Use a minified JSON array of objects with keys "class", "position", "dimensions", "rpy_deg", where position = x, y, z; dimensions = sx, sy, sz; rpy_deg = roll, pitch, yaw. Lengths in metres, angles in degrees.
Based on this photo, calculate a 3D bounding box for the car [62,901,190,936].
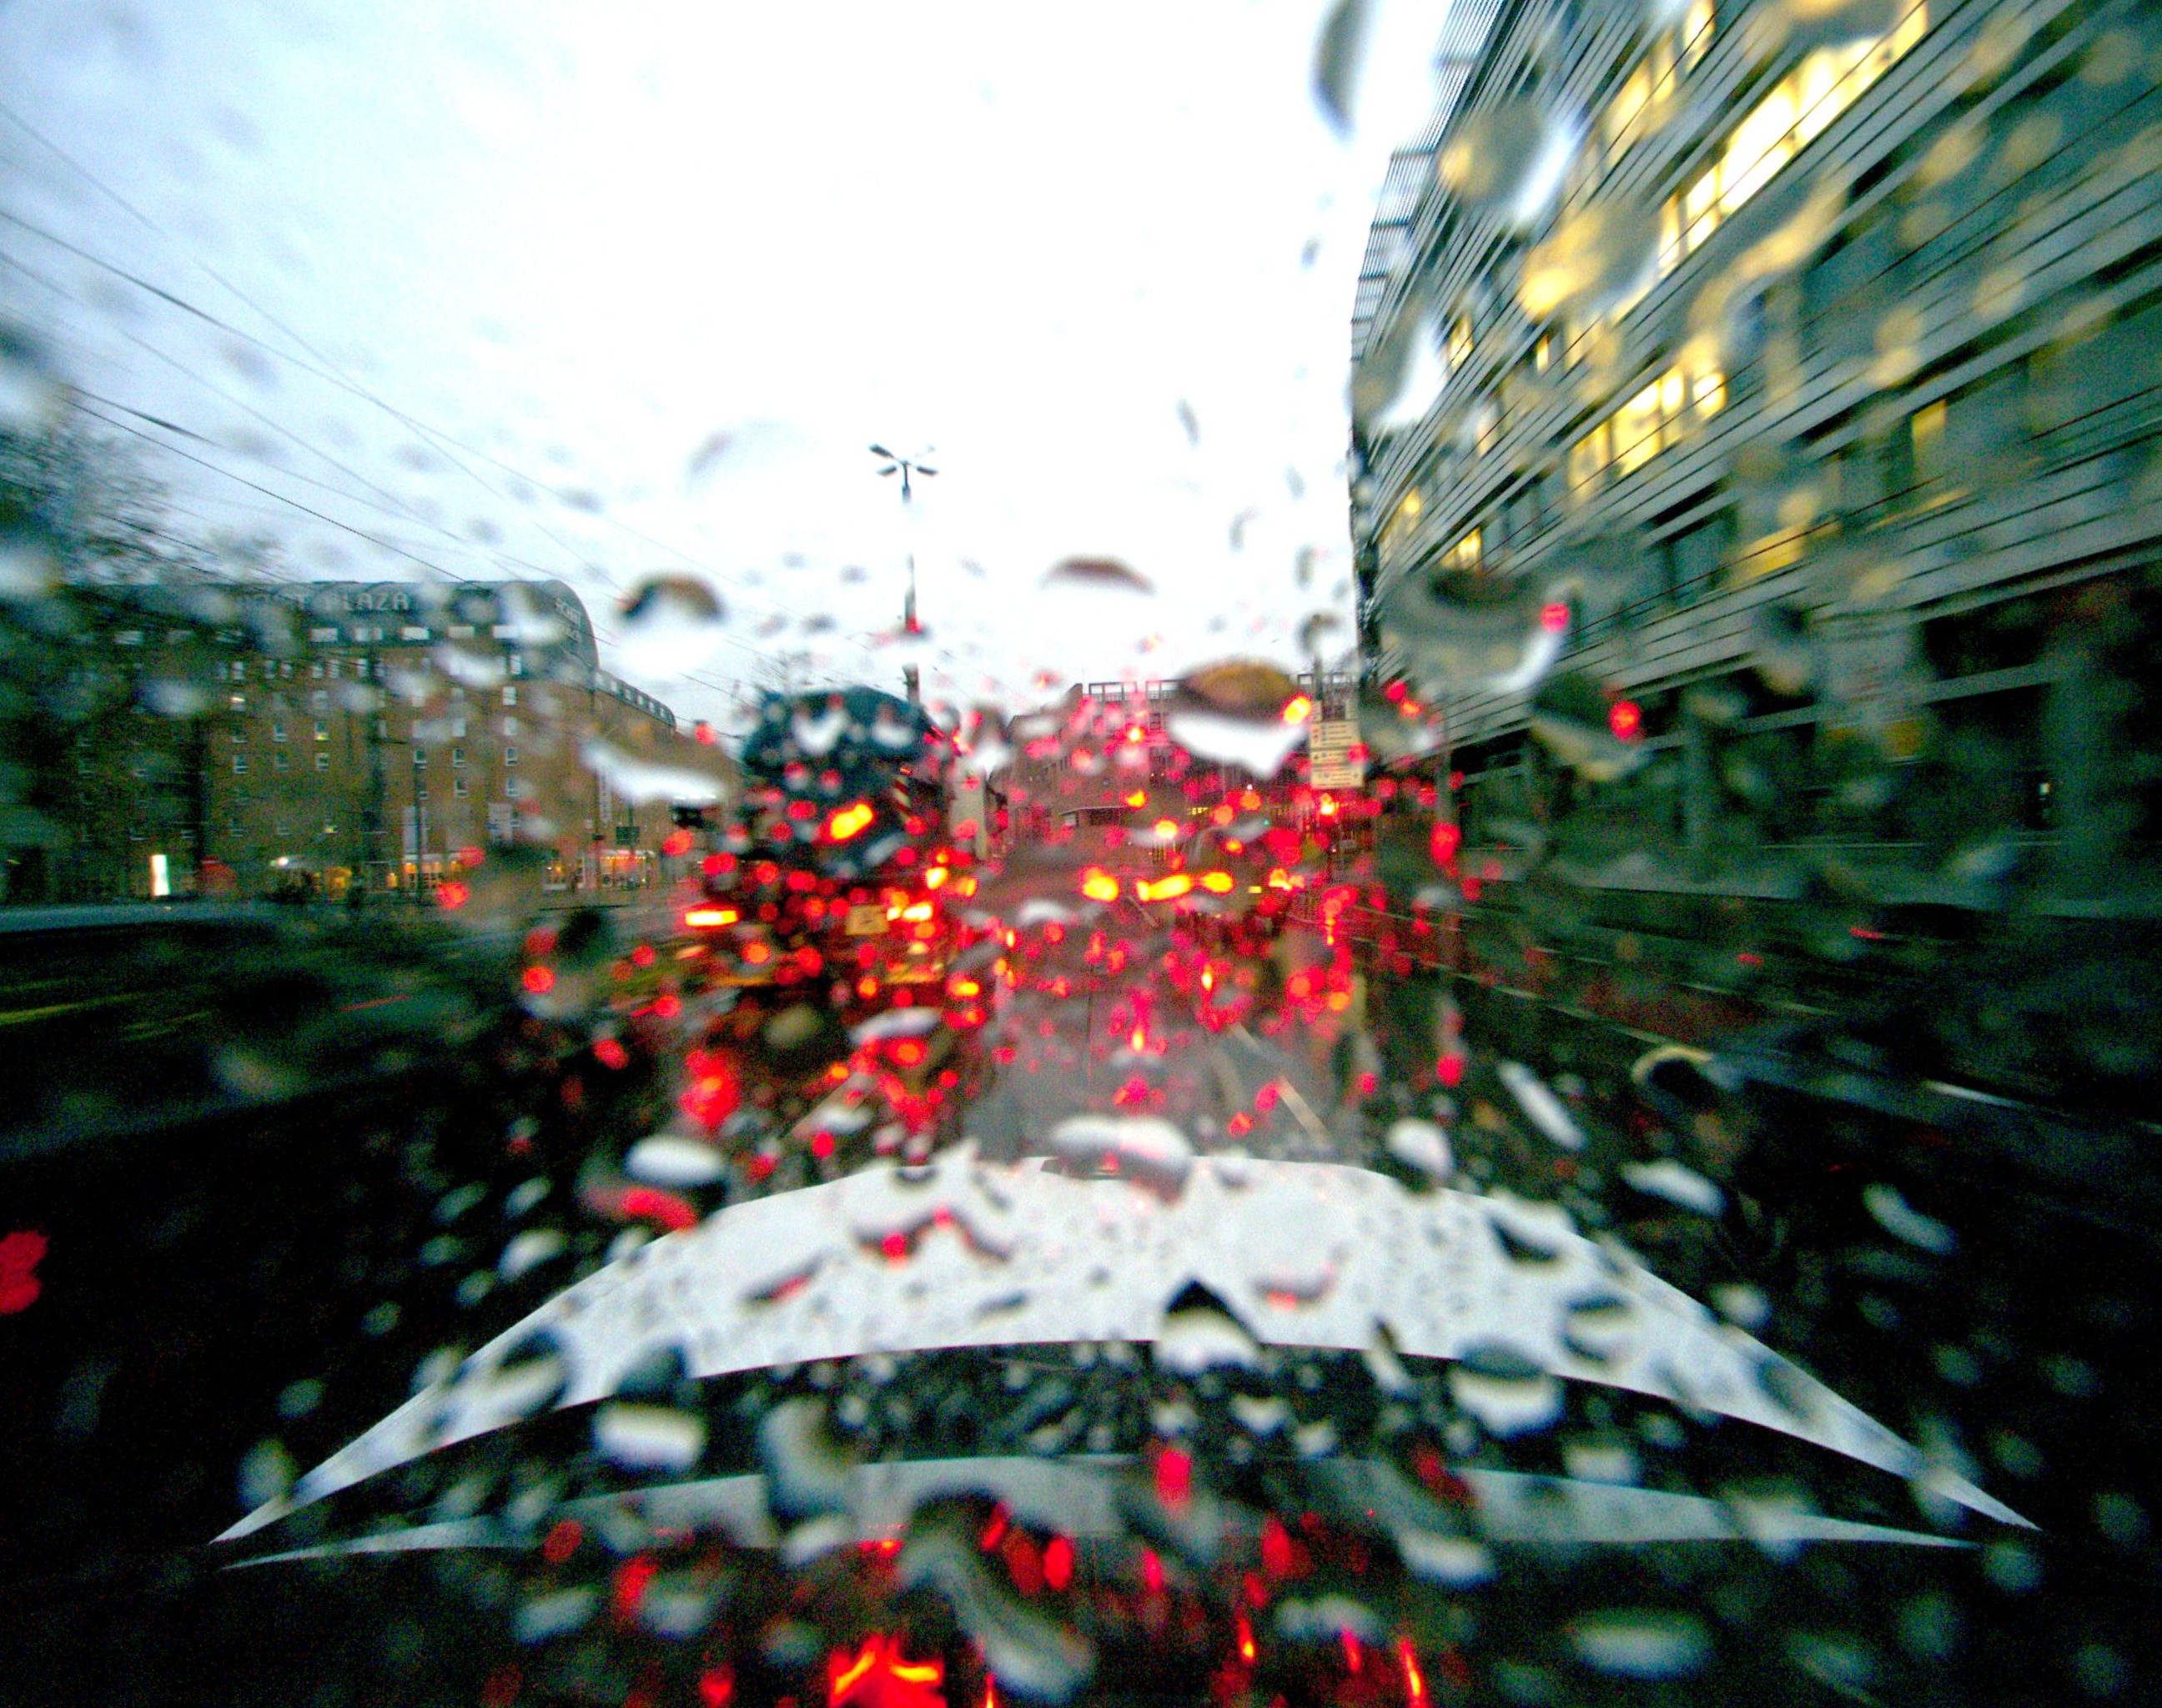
[{"class":"car","position":[-46.949,3.155,40.112],"dimensions":[3.971,1.427,2.001],"rpy_deg":[-2,0,2]}]

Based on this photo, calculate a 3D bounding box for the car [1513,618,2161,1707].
[{"class":"car","position":[2.651,0.522,0.960],"dimensions":[1.876,1.811,4.672],"rpy_deg":[-1,0,1]}]

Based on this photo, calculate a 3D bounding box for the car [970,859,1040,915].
[{"class":"car","position":[-2.196,0.934,24.406],"dimensions":[1.692,1.459,3.757],"rpy_deg":[-2,0,0]}]

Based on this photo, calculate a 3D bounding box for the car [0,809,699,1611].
[{"class":"car","position":[-2.905,0.712,2.482],"dimensions":[1.625,1.523,3.939],"rpy_deg":[-2,0,-1]}]

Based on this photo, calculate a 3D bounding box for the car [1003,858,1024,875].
[{"class":"car","position":[-6.666,1.235,80.307],"dimensions":[1.870,1.579,3.988],"rpy_deg":[0,0,-8]}]

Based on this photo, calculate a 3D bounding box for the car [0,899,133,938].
[{"class":"car","position":[-45.873,2.893,36.710],"dimensions":[3.971,1.427,2.001],"rpy_deg":[-2,0,2]}]

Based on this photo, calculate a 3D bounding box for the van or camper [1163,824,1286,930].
[{"class":"van or camper","position":[2.839,0.406,17.079],"dimensions":[1.751,1.906,4.417],"rpy_deg":[-1,0,-1]}]

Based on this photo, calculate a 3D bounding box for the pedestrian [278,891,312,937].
[{"class":"pedestrian","position":[-26.940,2.058,27.922],"dimensions":[0.519,1.512,0.612],"rpy_deg":[-2,0,-8]}]

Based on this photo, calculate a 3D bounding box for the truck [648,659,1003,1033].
[{"class":"truck","position":[-2.898,-0.098,11.882],"dimensions":[2.831,3.633,7.522],"rpy_deg":[-2,0,-1]}]
